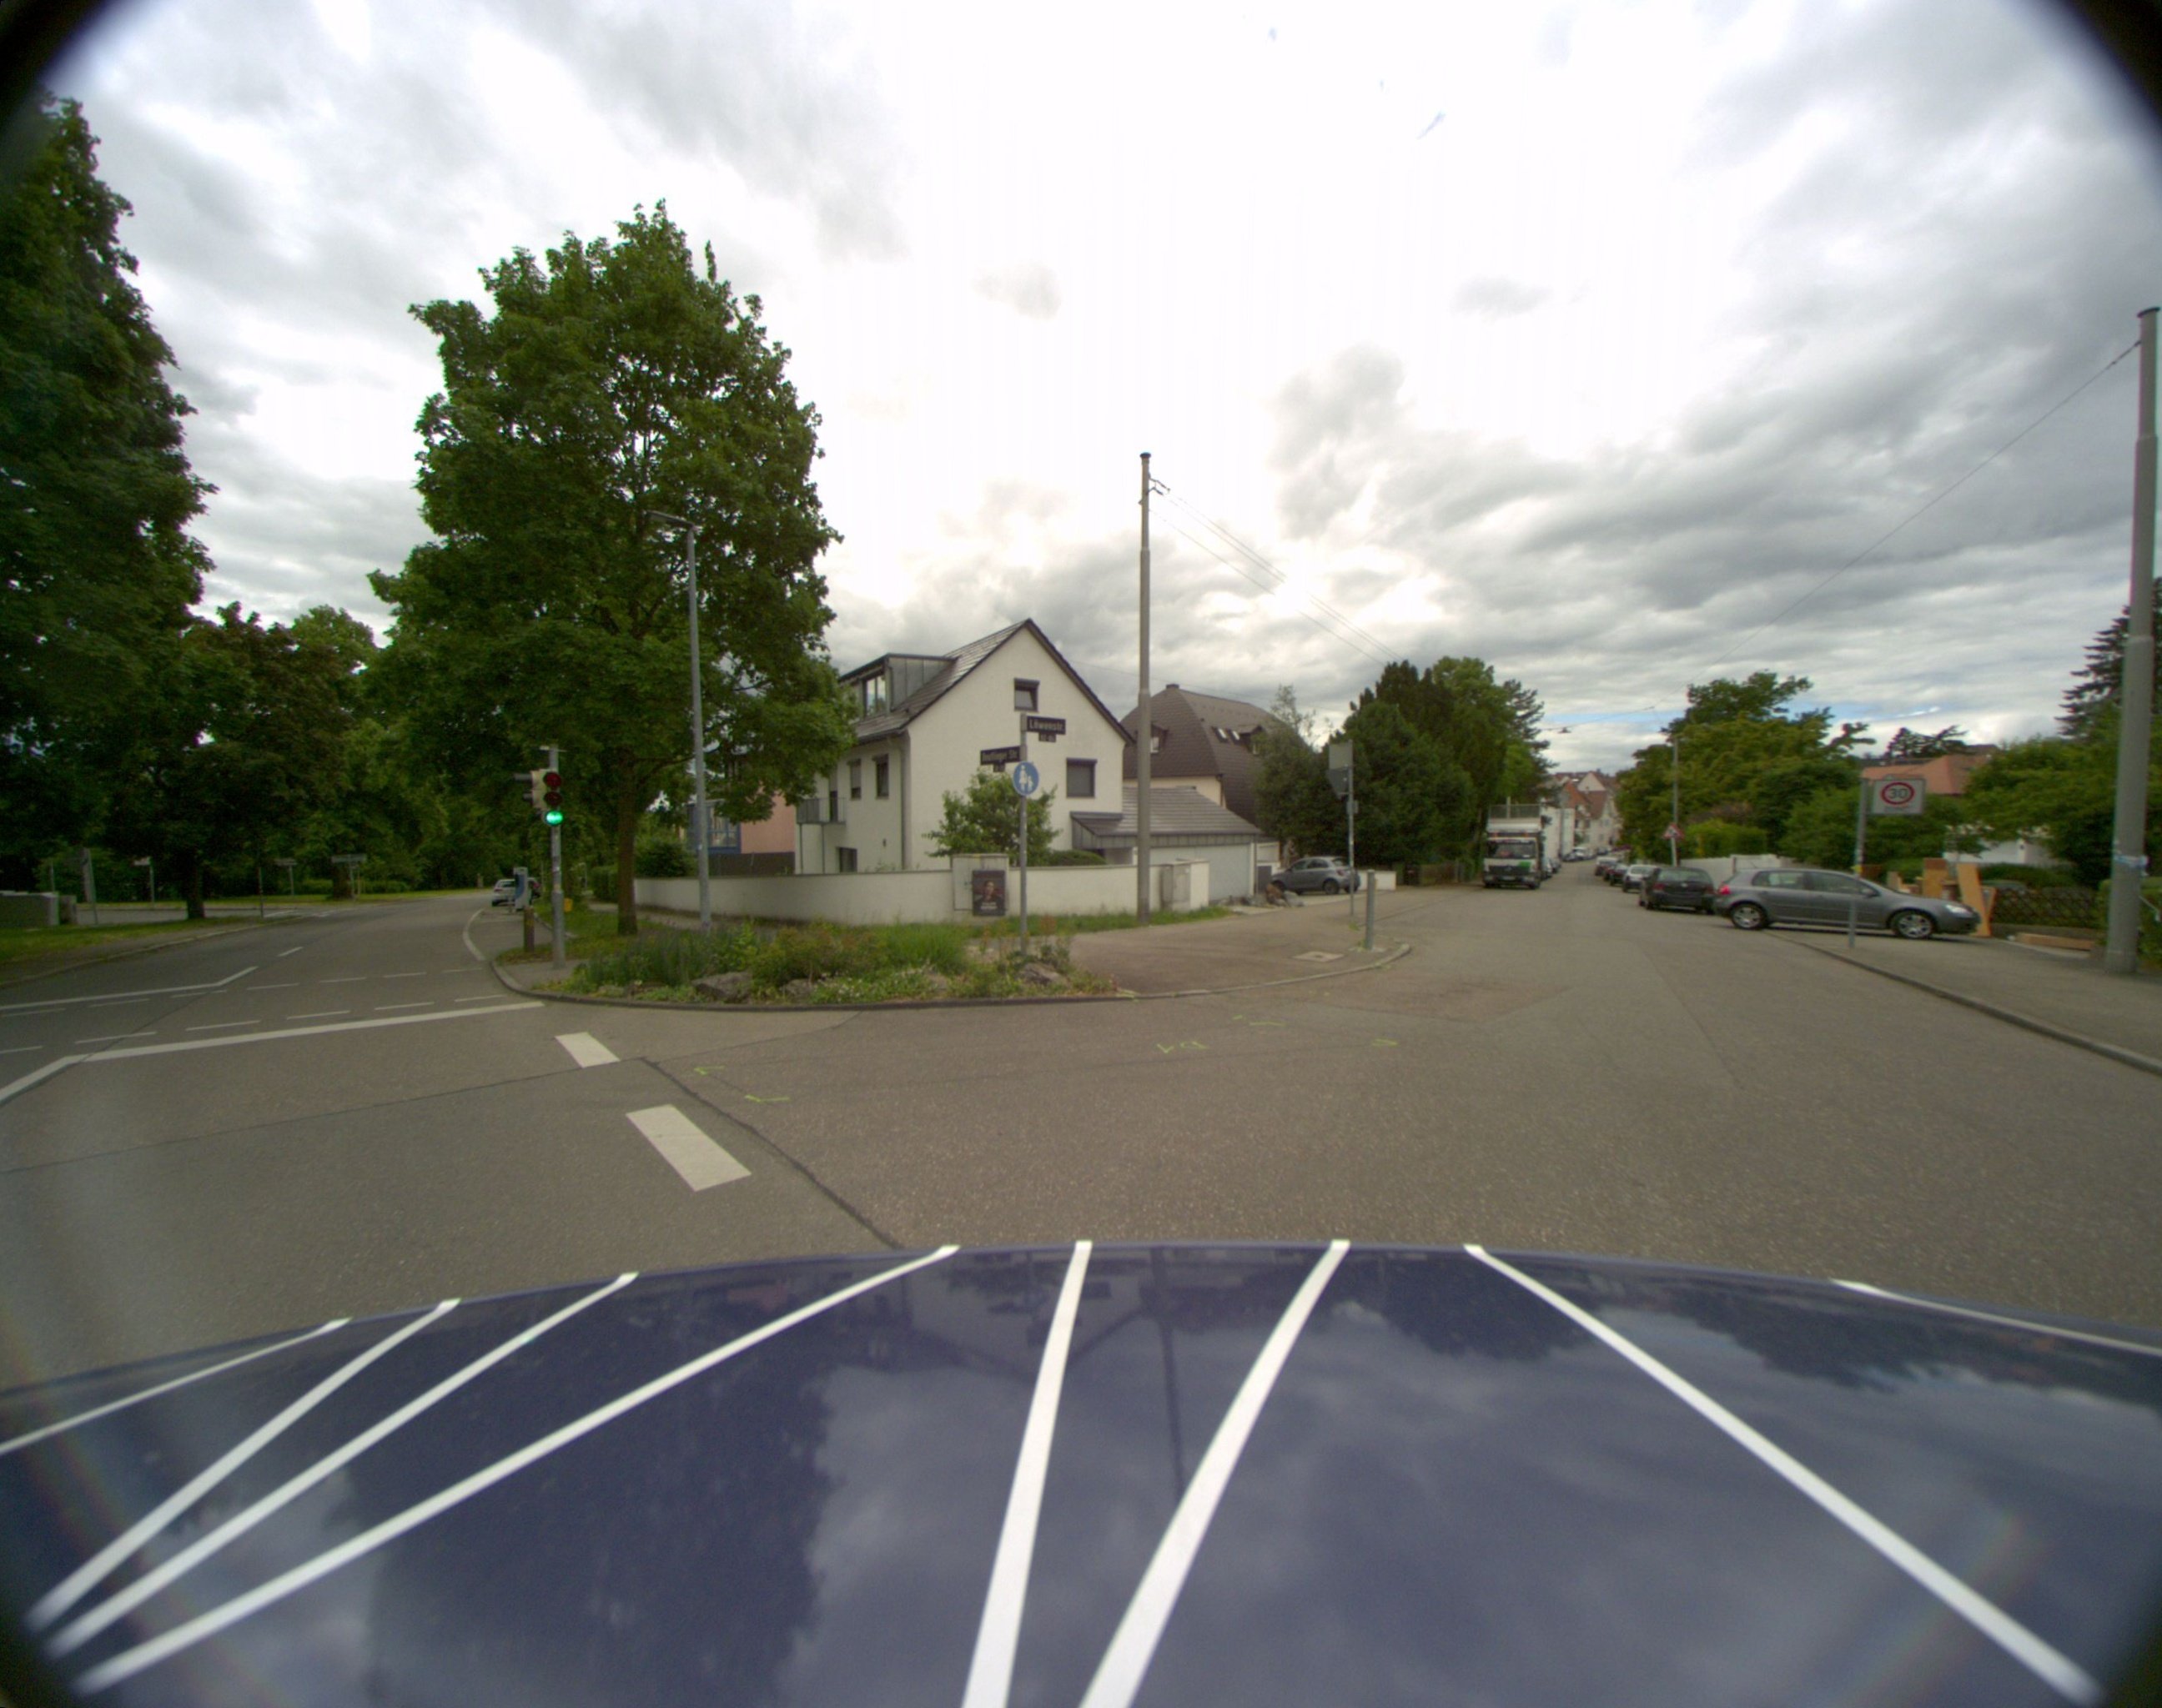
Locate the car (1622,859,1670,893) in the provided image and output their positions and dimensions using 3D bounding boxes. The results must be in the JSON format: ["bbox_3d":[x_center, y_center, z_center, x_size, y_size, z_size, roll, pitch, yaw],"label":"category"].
[{"bbox_3d":[27.977,1.029,37.721,1.616,1.461,3.319,5,3,33],"label":"car"}]

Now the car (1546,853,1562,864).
[{"bbox_3d":[69.281,0.677,111.252,1.871,1.543,3.832,1,1,33],"label":"car"}]

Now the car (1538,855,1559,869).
[{"bbox_3d":[51.833,0.866,84.237,1.871,1.543,3.832,1,1,33],"label":"car"}]

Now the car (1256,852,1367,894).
[{"bbox_3d":[9.154,0.786,30.351,1.696,1.487,3.849,-1,-2,-43],"label":"car"}]

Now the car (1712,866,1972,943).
[{"bbox_3d":[17.127,1.037,17.274,1.741,1.454,3.988,0,0,-39],"label":"car"}]

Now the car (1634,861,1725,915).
[{"bbox_3d":[19.043,1.012,24.343,1.754,1.436,3.810,4,2,31],"label":"car"}]

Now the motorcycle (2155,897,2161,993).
[{"bbox_3d":[12.647,1.085,7.882,0.773,1.133,2.150,2,1,26],"label":"motorcycle"}]

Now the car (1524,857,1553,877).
[{"bbox_3d":[36.954,1.033,61.336,1.871,1.543,3.832,1,1,33],"label":"car"}]

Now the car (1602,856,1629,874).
[{"bbox_3d":[53.951,1.077,76.706,1.883,1.746,3.710,1,1,30],"label":"car"}]

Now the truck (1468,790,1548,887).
[{"bbox_3d":[22.394,-0.773,39.689,3.146,4.525,7.968,2,1,31],"label":"truck"}]

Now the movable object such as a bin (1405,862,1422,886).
[{"bbox_3d":[15.110,0.913,34.506,0.598,1.098,0.954,-2,-3,30],"label":"movable object such as a bin"}]

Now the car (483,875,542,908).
[{"bbox_3d":[-31.841,2.055,42.698,2.003,1.543,3.990,0,1,-27],"label":"car"}]

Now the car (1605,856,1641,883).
[{"bbox_3d":[33.293,0.942,46.733,1.616,1.461,3.319,5,3,33],"label":"car"}]

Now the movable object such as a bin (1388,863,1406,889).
[{"bbox_3d":[14.530,1.016,34.954,0.598,1.200,0.954,-2,-3,30],"label":"movable object such as a bin"}]
